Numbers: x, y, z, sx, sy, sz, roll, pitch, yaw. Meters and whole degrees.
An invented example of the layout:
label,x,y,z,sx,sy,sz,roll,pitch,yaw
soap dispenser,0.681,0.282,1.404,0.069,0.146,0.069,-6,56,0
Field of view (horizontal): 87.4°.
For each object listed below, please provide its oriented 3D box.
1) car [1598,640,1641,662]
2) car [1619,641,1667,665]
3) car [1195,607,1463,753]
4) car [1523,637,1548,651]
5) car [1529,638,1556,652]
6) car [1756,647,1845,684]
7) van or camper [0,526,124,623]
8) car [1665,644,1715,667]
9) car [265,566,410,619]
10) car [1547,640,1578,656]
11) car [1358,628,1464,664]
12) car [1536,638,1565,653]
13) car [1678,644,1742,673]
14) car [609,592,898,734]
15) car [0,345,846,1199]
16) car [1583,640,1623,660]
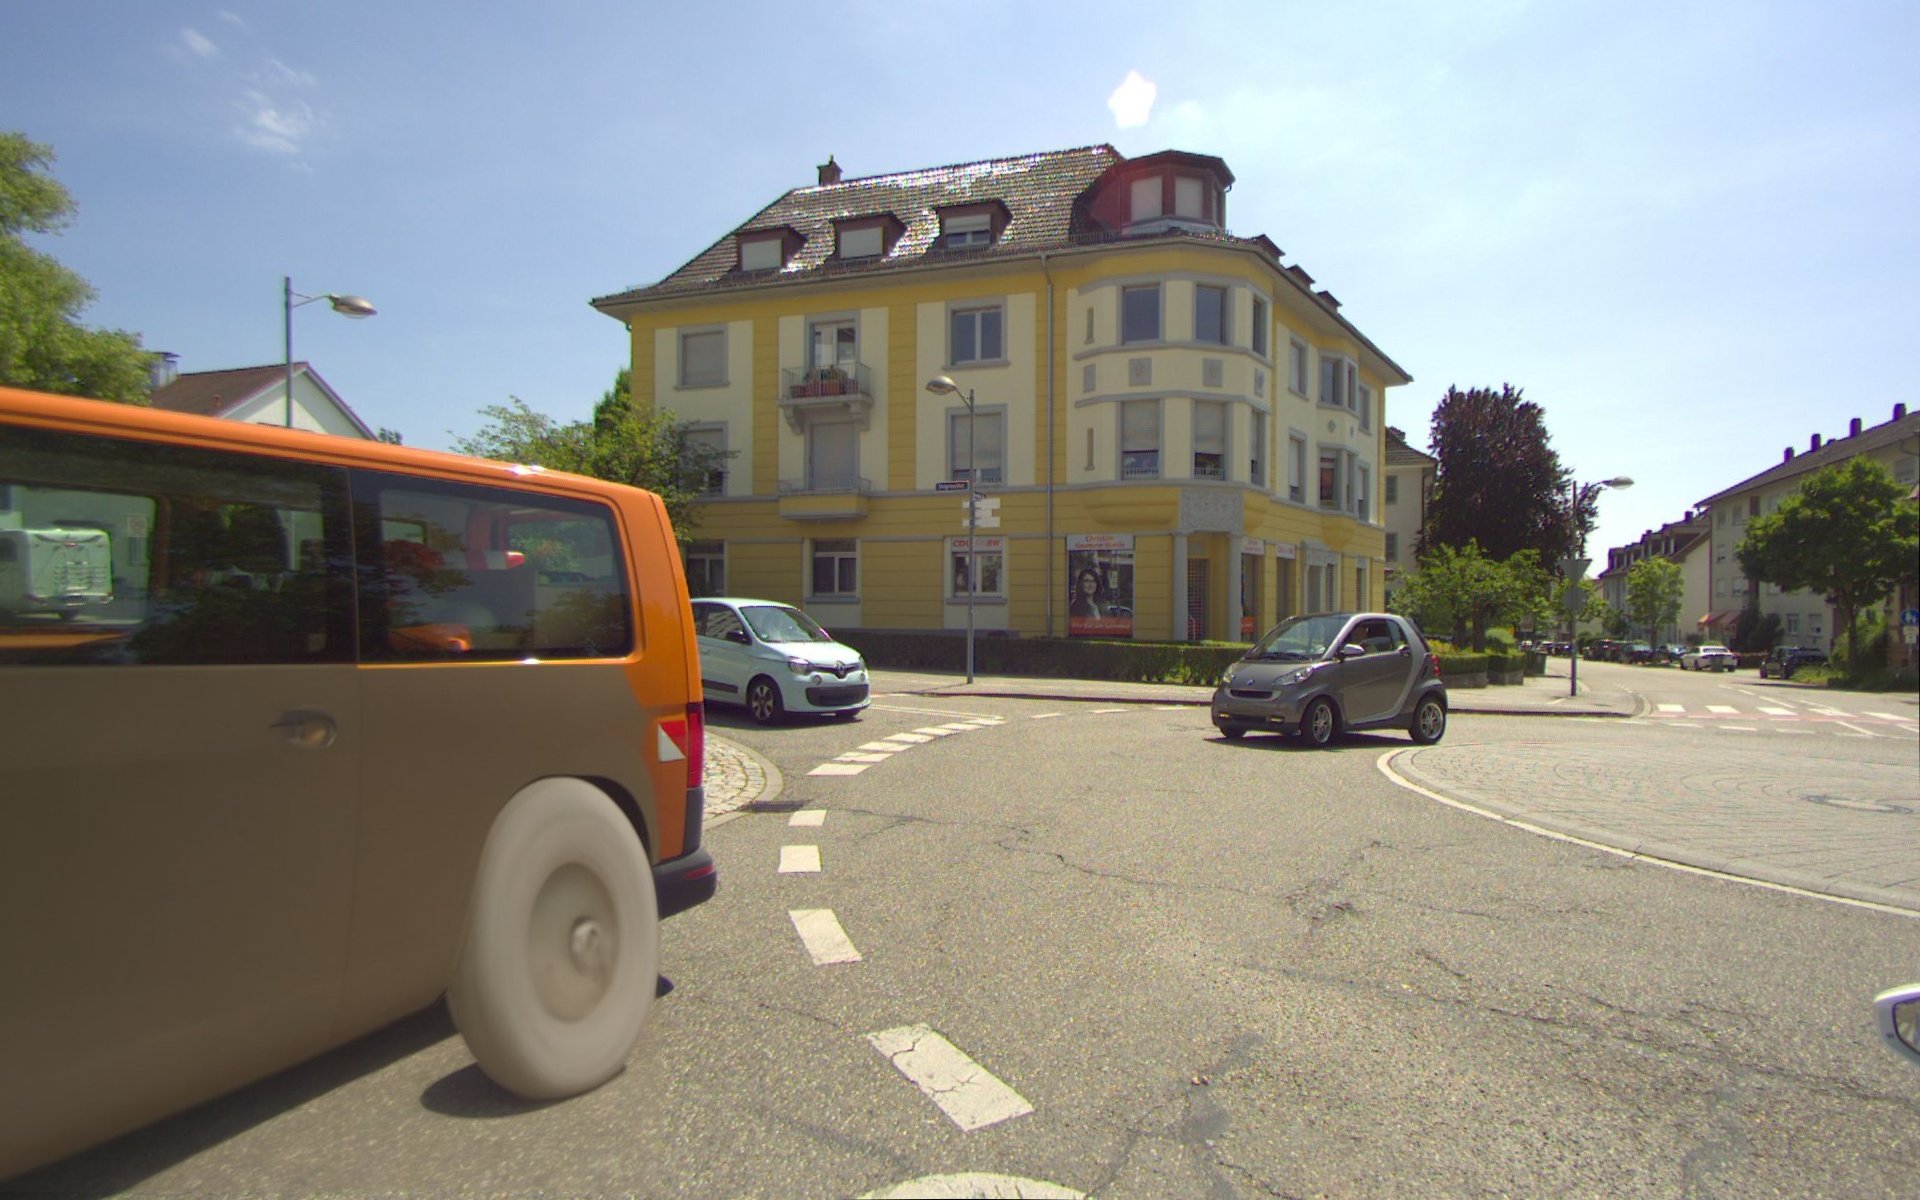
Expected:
label,x,y,z,sx,sy,sz,roll,pitch,yaw
car,52.191,4.029,79.584,1.961,1.529,4.418,2,-1,22
car,50.085,3.863,73.769,1.961,1.529,4.418,2,-1,22
car,4.451,0.925,12.146,2.753,1.550,1.559,3,-1,-27
car,68.304,5.216,119.243,1.961,1.508,3.999,3,0,22
car,66.158,5.095,114.208,1.961,1.529,4.418,2,-1,22
car,40.200,3.089,48.176,1.961,1.529,4.418,2,-1,22
van or camper,-28.064,-0.820,29.797,5.768,2.674,2.274,2,2,18
car,54.864,4.146,75.618,1.961,1.529,4.418,2,-1,22
car,-20.623,-0.212,33.492,1.721,1.607,3.994,2,-1,15
car,62.032,4.906,103.454,1.961,1.529,4.418,2,-1,22
car,21.599,2.171,48.282,4.330,1.529,2.001,2,-1,16
car,64.130,4.940,109.167,1.961,1.529,4.418,2,-1,22
car,44.425,3.428,59.601,1.961,1.529,4.418,2,-1,22
car,-2.950,0.759,13.914,4.097,1.545,1.653,3,1,39
car,-2.794,0.411,2.809,1.919,1.985,5.001,3,0,38
car,54.007,4.168,84.466,1.961,1.529,4.418,2,-1,22
